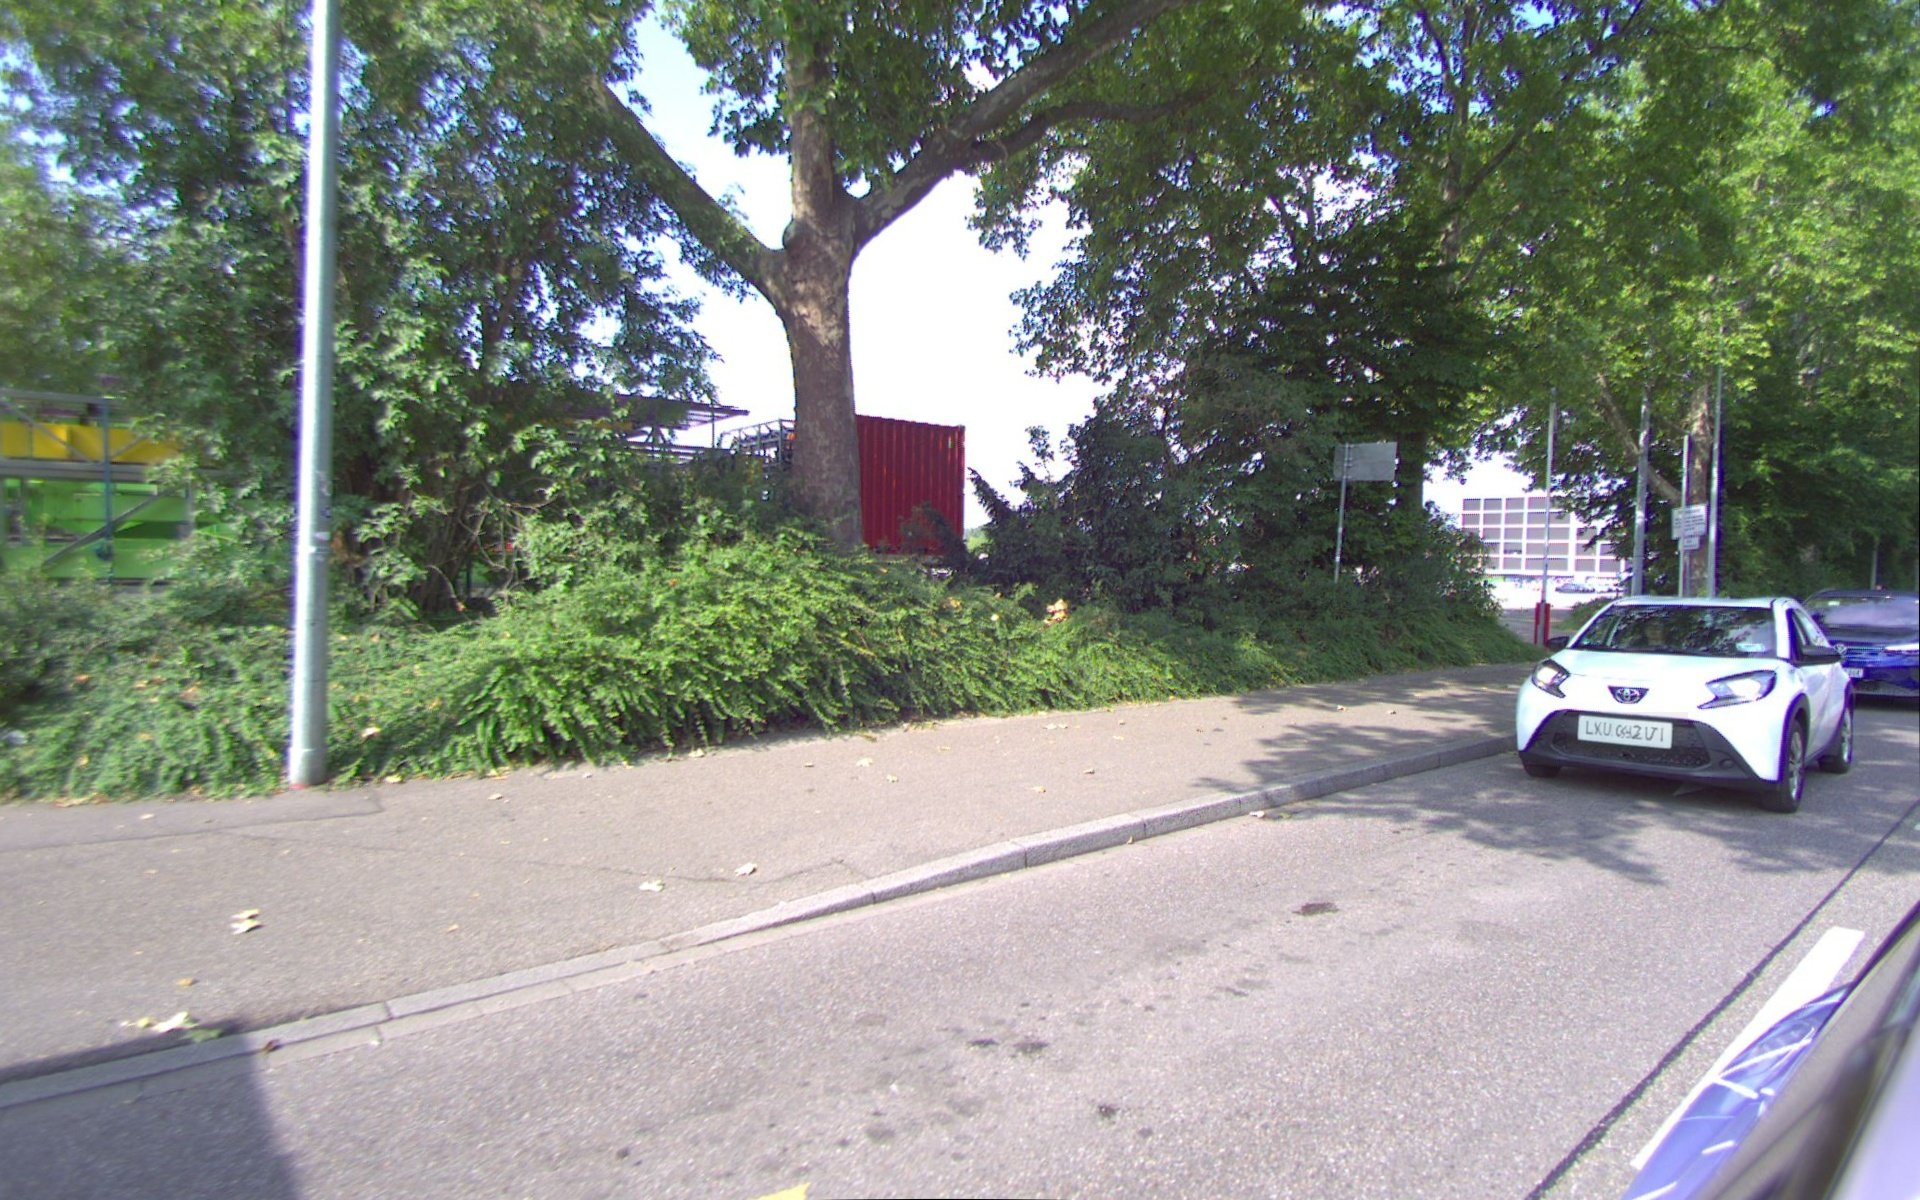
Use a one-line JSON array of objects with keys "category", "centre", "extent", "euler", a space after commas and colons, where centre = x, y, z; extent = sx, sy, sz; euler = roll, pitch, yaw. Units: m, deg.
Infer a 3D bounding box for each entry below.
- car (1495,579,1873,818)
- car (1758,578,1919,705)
[{"category": "car", "centre": [6.023, 0.612, 8.262], "extent": [3.733, 1.498, 1.747], "euler": [0, 0, -42]}, {"category": "car", "centre": [13.323, 0.523, 14.677], "extent": [4.499, 1.595, 1.890], "euler": [0, 1, -40]}]
